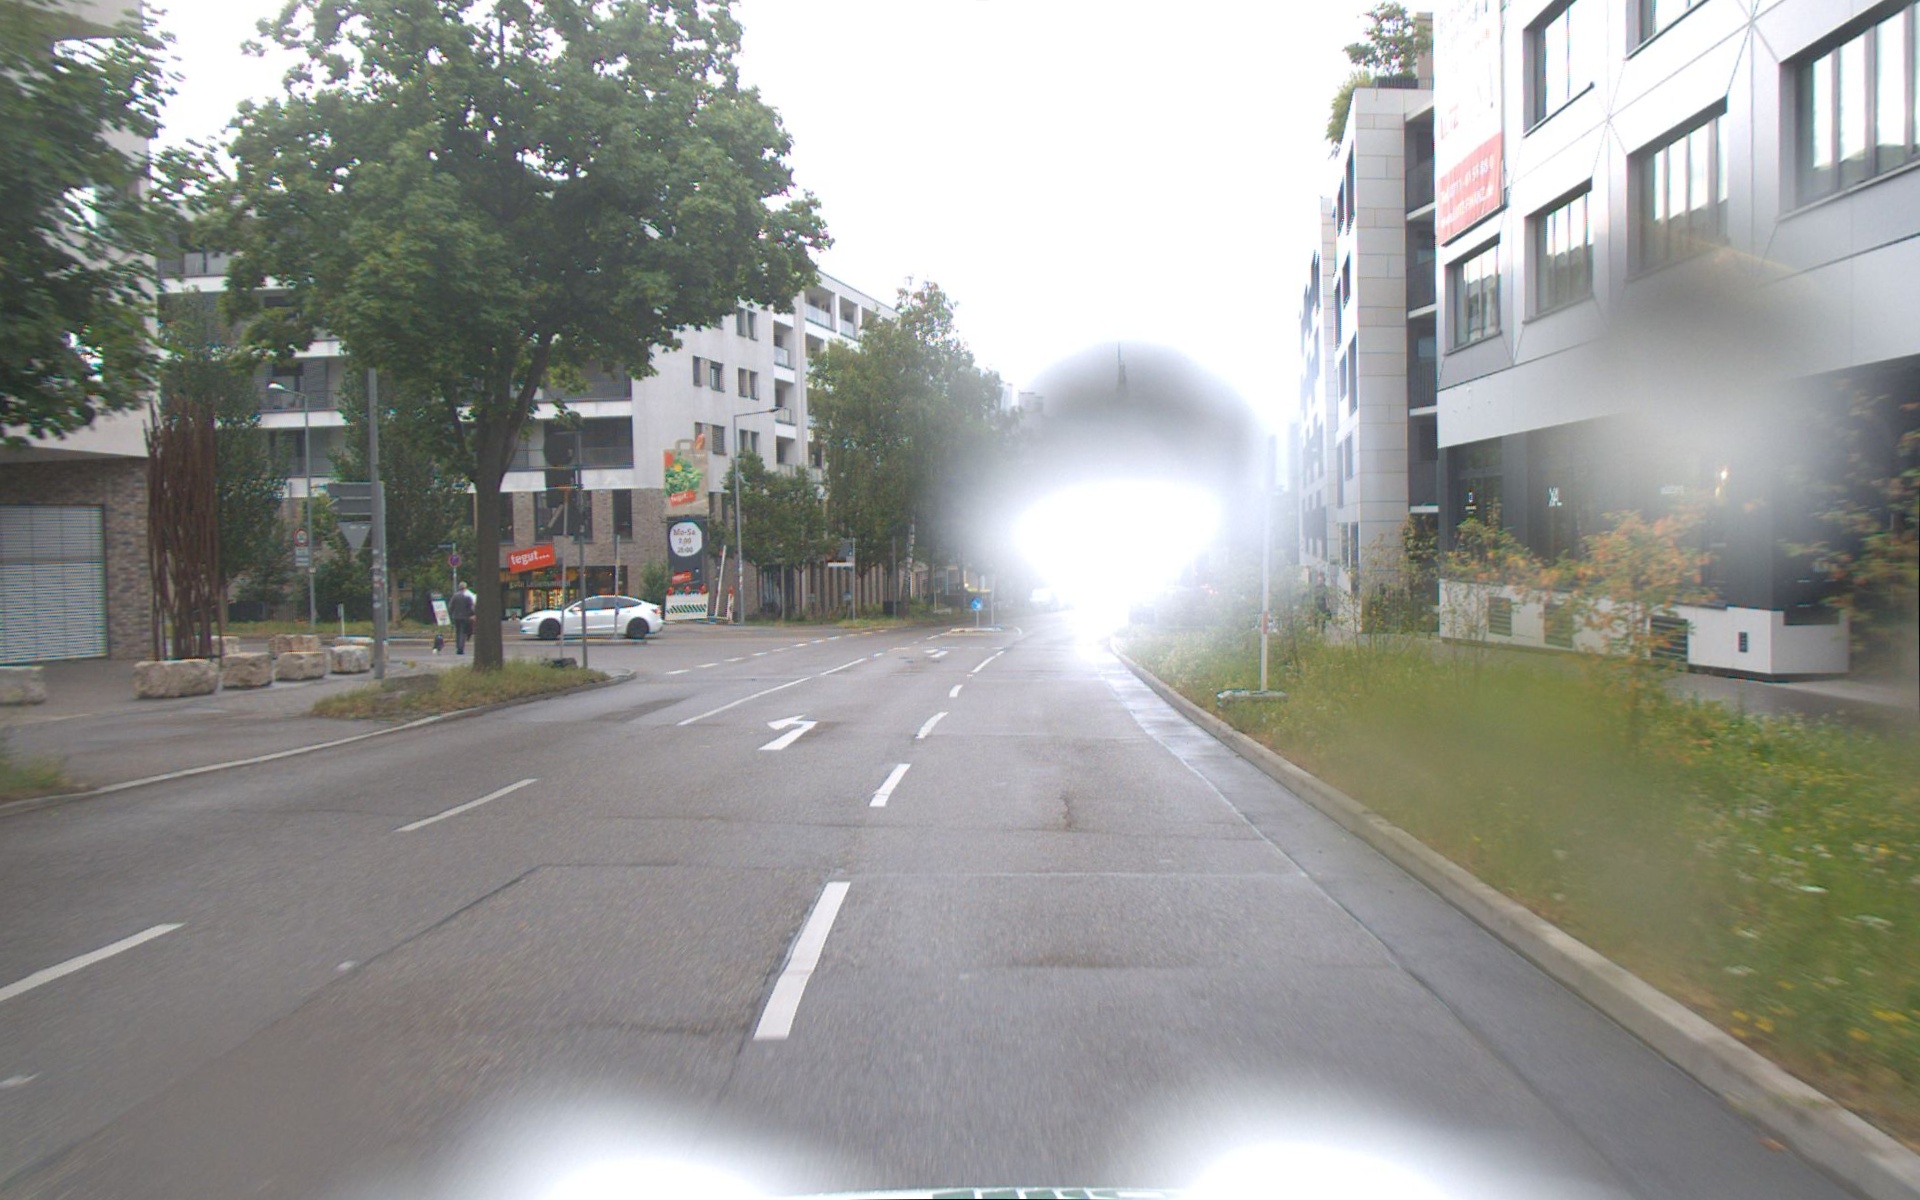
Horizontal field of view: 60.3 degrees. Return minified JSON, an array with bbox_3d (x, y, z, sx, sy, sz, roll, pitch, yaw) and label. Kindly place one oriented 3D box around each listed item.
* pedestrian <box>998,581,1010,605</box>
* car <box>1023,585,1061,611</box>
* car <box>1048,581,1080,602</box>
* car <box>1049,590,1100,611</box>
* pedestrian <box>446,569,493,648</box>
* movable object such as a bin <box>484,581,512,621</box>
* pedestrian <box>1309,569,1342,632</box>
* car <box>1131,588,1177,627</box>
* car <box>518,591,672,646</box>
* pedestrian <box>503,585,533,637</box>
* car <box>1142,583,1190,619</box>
[{"bbox_3d":[3.123,-0.487,116.712,0.693,1.712,0.957,-1,1,7],"label":"pedestrian"},{"bbox_3d":[5.718,-0.155,115.085,2.033,1.637,4.690,-2,1,10],"label":"car"},{"bbox_3d":[7.873,-0.634,124.975,1.758,1.543,4.249,0,0,13],"label":"car"},{"bbox_3d":[9.088,0.048,131.344,3.901,1.604,2.000,-1,1,0],"label":"car"},{"bbox_3d":[-12.802,0.220,43.163,1.036,2.049,1.097,0,0,-10],"label":"pedestrian"},{"bbox_3d":[-16.397,0.043,58.721,0.700,1.386,0.823,-1,1,5],"label":"movable object such as a bin"},{"bbox_3d":[10.760,0.013,48.738,0.805,1.827,0.778,-1,0,5],"label":"pedestrian"},{"bbox_3d":[7.970,0.297,67.815,1.513,1.504,3.664,0,1,12],"label":"car"},{"bbox_3d":[-12.091,0.591,54.792,4.738,1.690,2.050,-1,0,-22],"label":"car"},{"bbox_3d":[-17.914,0.441,67.055,0.864,2.049,1.118,0,1,3],"label":"pedestrian"},{"bbox_3d":[9.109,0.037,72.987,1.769,1.510,4.499,0,0,11],"label":"car"}]
